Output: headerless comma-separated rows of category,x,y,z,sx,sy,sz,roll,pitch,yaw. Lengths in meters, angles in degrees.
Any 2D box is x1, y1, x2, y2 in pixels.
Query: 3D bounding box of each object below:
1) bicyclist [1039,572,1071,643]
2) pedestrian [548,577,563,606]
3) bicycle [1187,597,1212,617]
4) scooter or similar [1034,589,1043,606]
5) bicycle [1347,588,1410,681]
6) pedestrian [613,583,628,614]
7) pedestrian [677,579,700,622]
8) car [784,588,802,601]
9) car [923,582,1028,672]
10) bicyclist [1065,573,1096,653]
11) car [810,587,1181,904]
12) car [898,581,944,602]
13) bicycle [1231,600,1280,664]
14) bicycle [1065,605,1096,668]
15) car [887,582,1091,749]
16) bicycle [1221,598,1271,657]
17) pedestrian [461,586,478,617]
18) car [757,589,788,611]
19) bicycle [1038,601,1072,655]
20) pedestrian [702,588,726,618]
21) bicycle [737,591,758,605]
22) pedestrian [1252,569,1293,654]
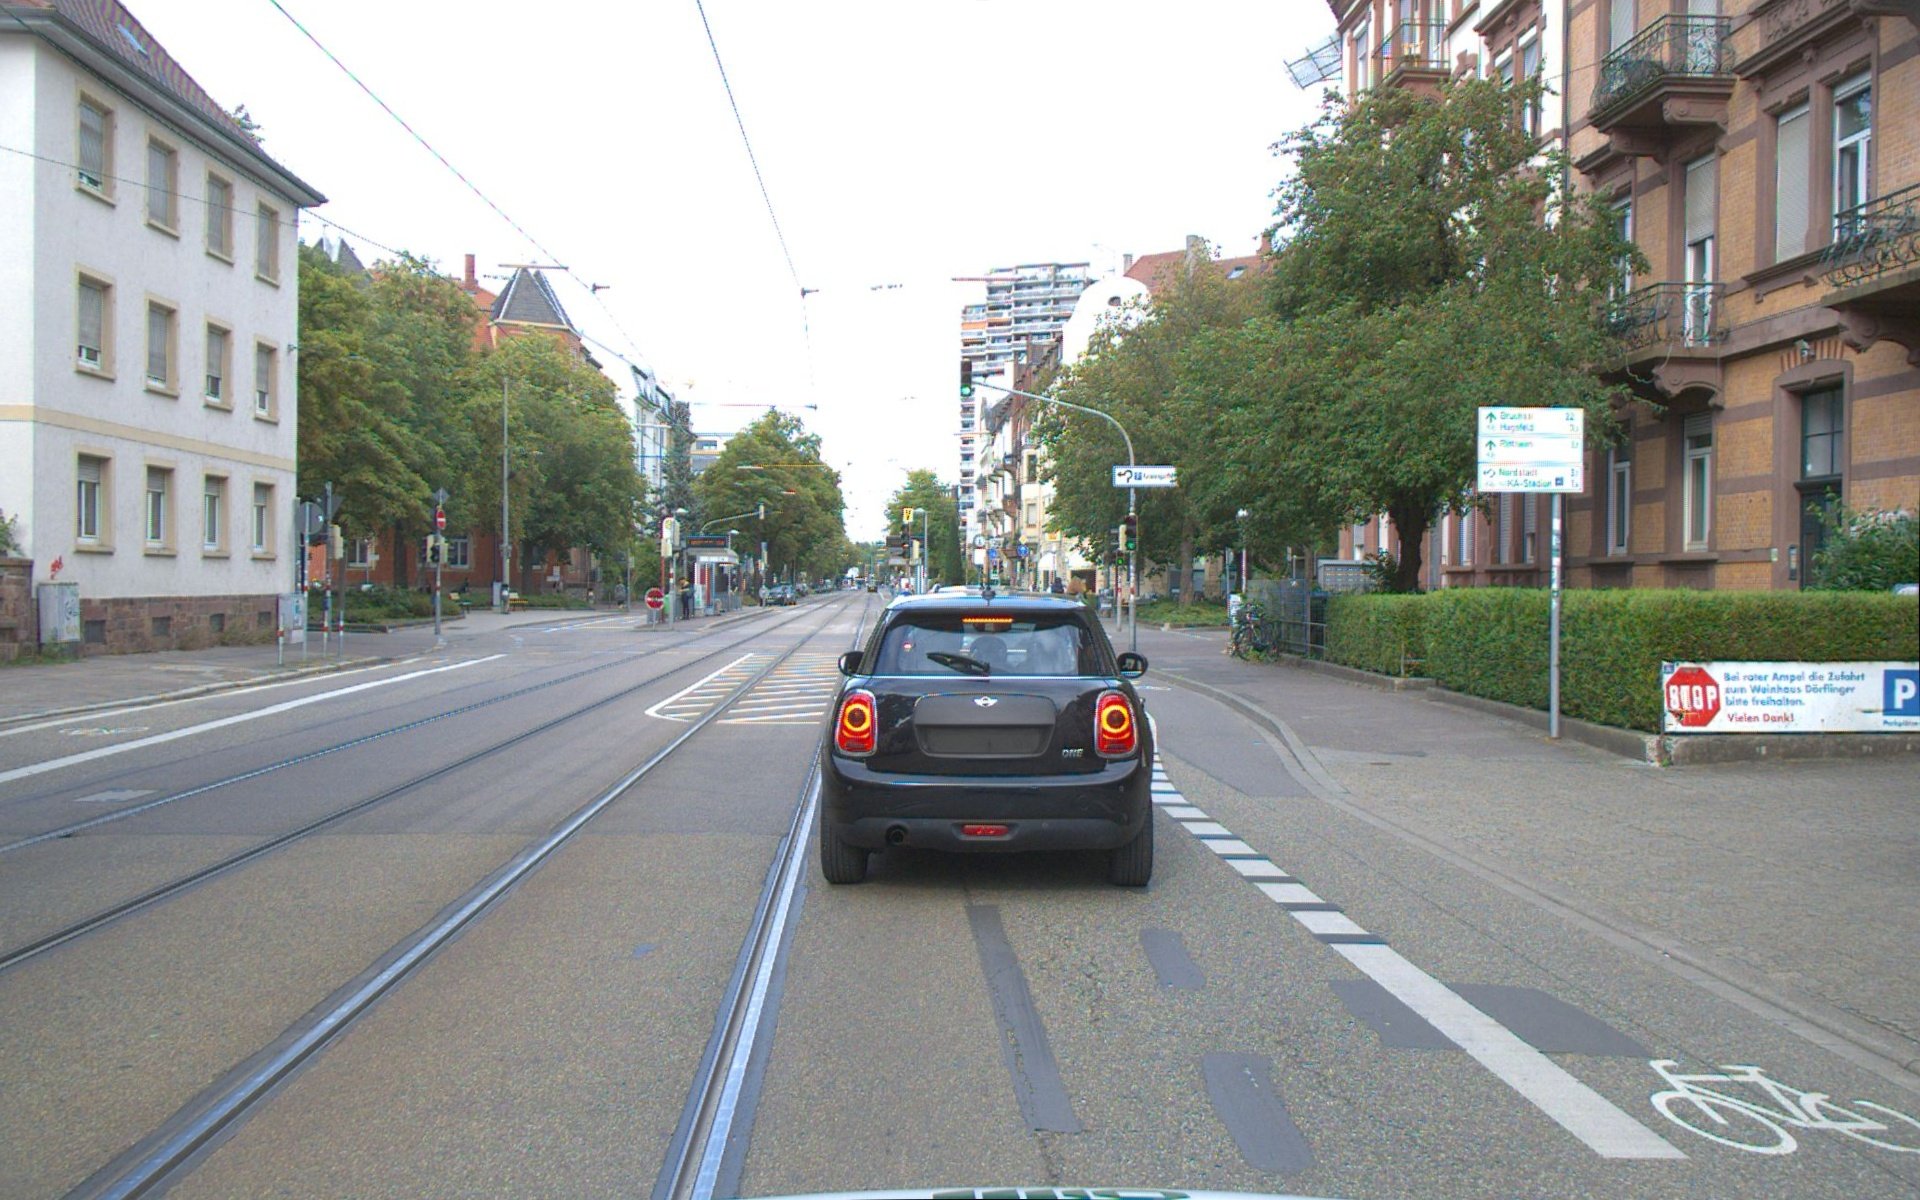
bicyclist,2.177,0.168,37.900,0.670,1.591,0.998,0,0,-1
pedestrian,-24.720,-0.526,101.143,0.817,1.732,0.731,0,0,-8
bicycle,13.664,0.398,94.377,0.522,1.147,1.884,0,0,39
scooter or similar,5.529,-0.200,116.397,0.498,1.209,1.261,0,0,-3
bicycle,6.083,0.487,24.089,0.505,1.304,1.550,0,0,-1
pedestrian,-19.322,-0.094,94.207,0.680,1.749,0.758,0,0,-1
pedestrian,-10.524,0.019,64.152,0.836,1.649,0.842,0,0,-8
car,-20.537,-0.701,203.942,1.953,1.579,3.998,0,0,-2
car,0.240,0.429,29.422,1.716,1.466,4.479,0,0,0
bicyclist,2.394,0.254,32.981,0.582,1.577,1.014,0,0,2
car,0.193,0.660,9.660,1.715,1.466,4.000,0,0,1
car,-4.373,-0.945,187.356,4.999,2.312,2.359,0,0,-44
bicycle,5.421,0.568,30.388,0.498,1.107,1.549,-3,1,-3
bicycle,2.395,0.708,32.994,0.586,1.190,1.697,0,1,3
car,0.280,0.593,17.265,1.887,1.536,4.000,0,0,0
bicycle,5.712,0.537,33.127,0.657,1.125,1.671,0,1,-3
pedestrian,-28.191,0.089,95.111,0.817,1.732,0.731,0,0,-8
car,-13.182,-0.010,116.368,1.716,1.466,3.999,2,0,-1
bicycle,2.174,0.635,37.959,0.670,1.190,1.696,0,1,-1
pedestrian,-10.741,0.130,72.189,1.038,1.316,0.984,0,0,-8
bicycle,-17.334,-0.155,134.920,1.658,1.138,0.564,-1,1,-43
pedestrian,6.660,0.239,35.252,0.715,1.784,0.950,0,0,2
